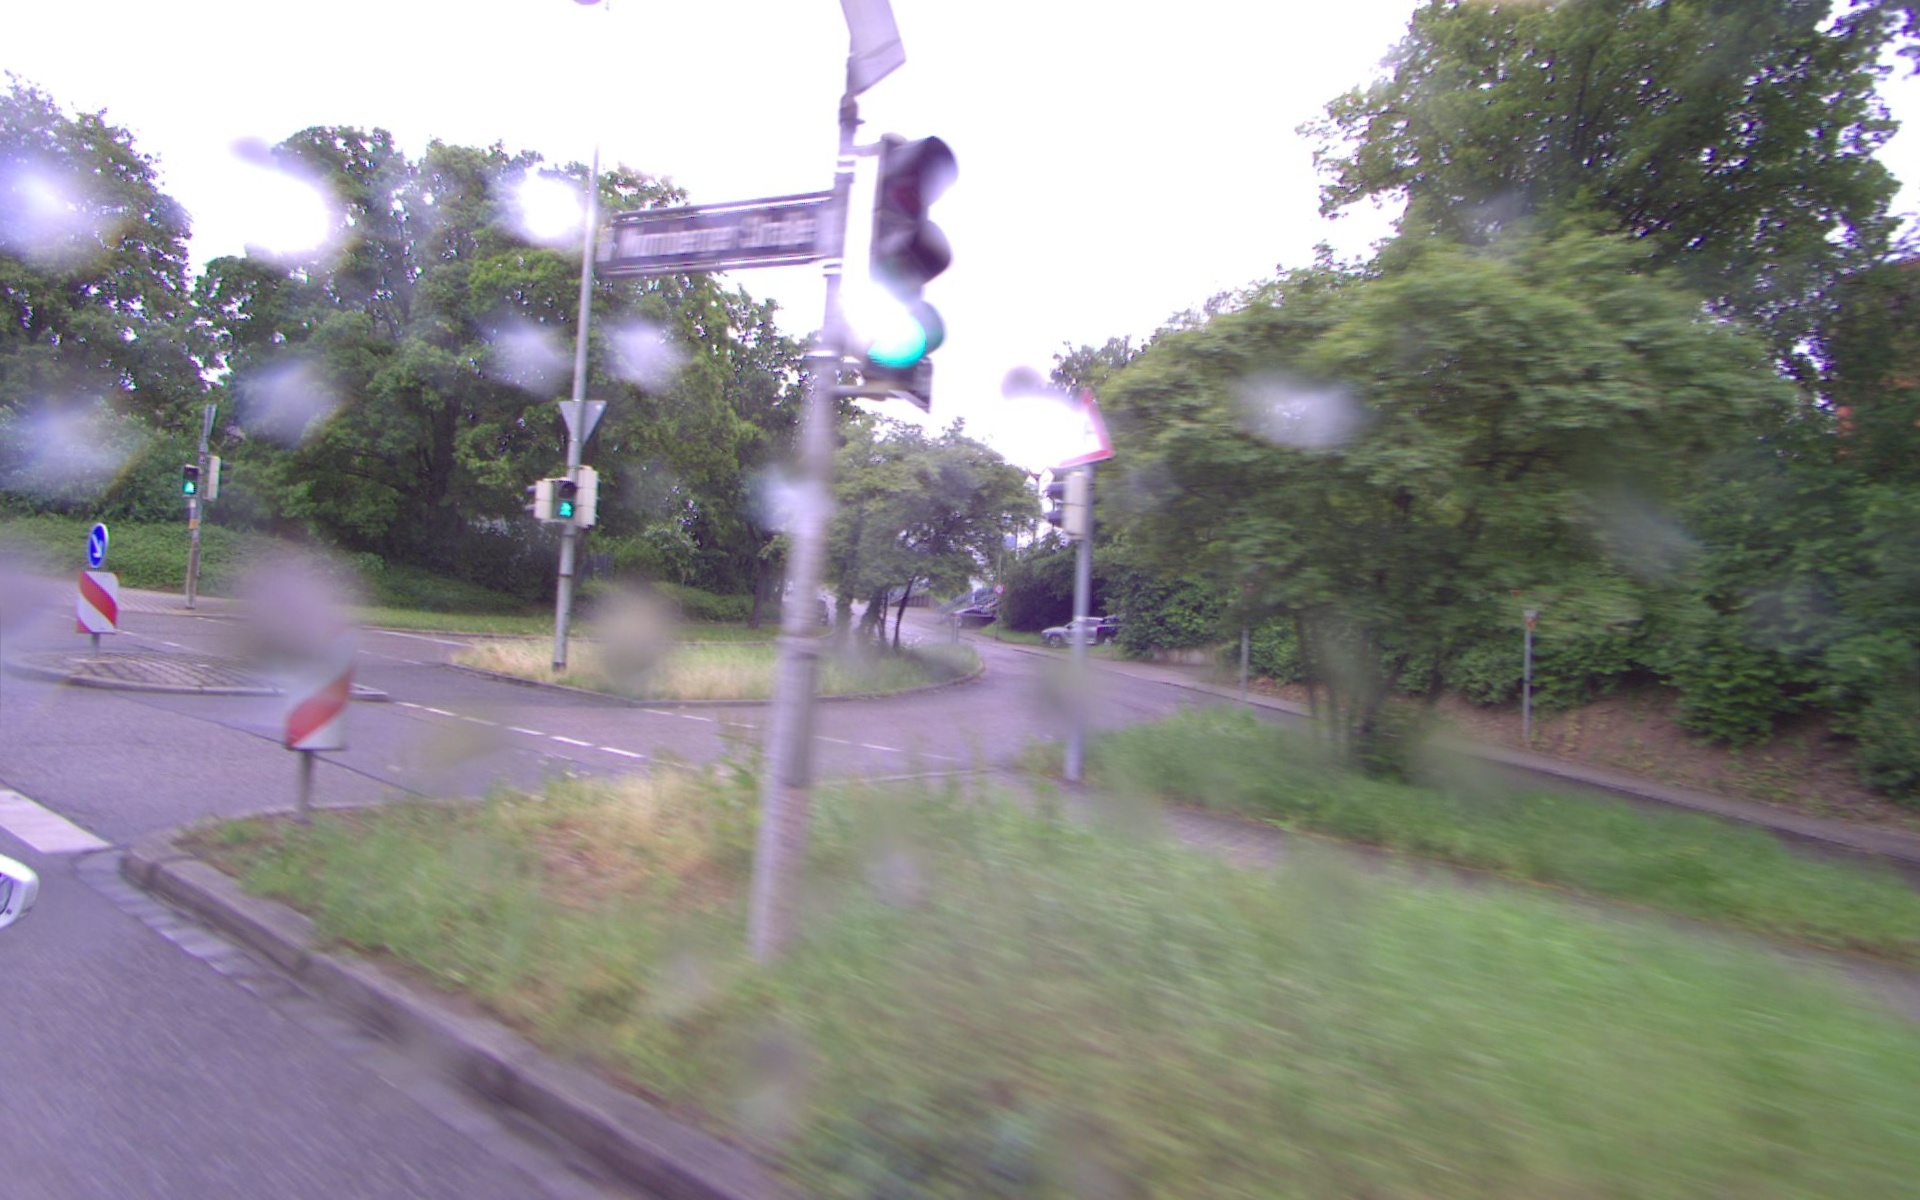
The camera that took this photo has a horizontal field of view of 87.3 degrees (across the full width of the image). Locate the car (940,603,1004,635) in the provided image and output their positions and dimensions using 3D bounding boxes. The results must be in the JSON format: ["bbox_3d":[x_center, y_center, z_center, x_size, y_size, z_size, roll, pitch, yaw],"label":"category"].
[{"bbox_3d":[0.800,1.310,69.062,3.936,1.668,1.952,7,-1,-13],"label":"car"}]

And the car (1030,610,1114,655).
[{"bbox_3d":[5.968,1.745,53.576,3.925,1.922,1.958,6,0,19],"label":"car"}]

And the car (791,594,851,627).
[{"bbox_3d":[-8.035,0.656,58.564,1.794,1.590,4.002,6,-1,17],"label":"car"}]
